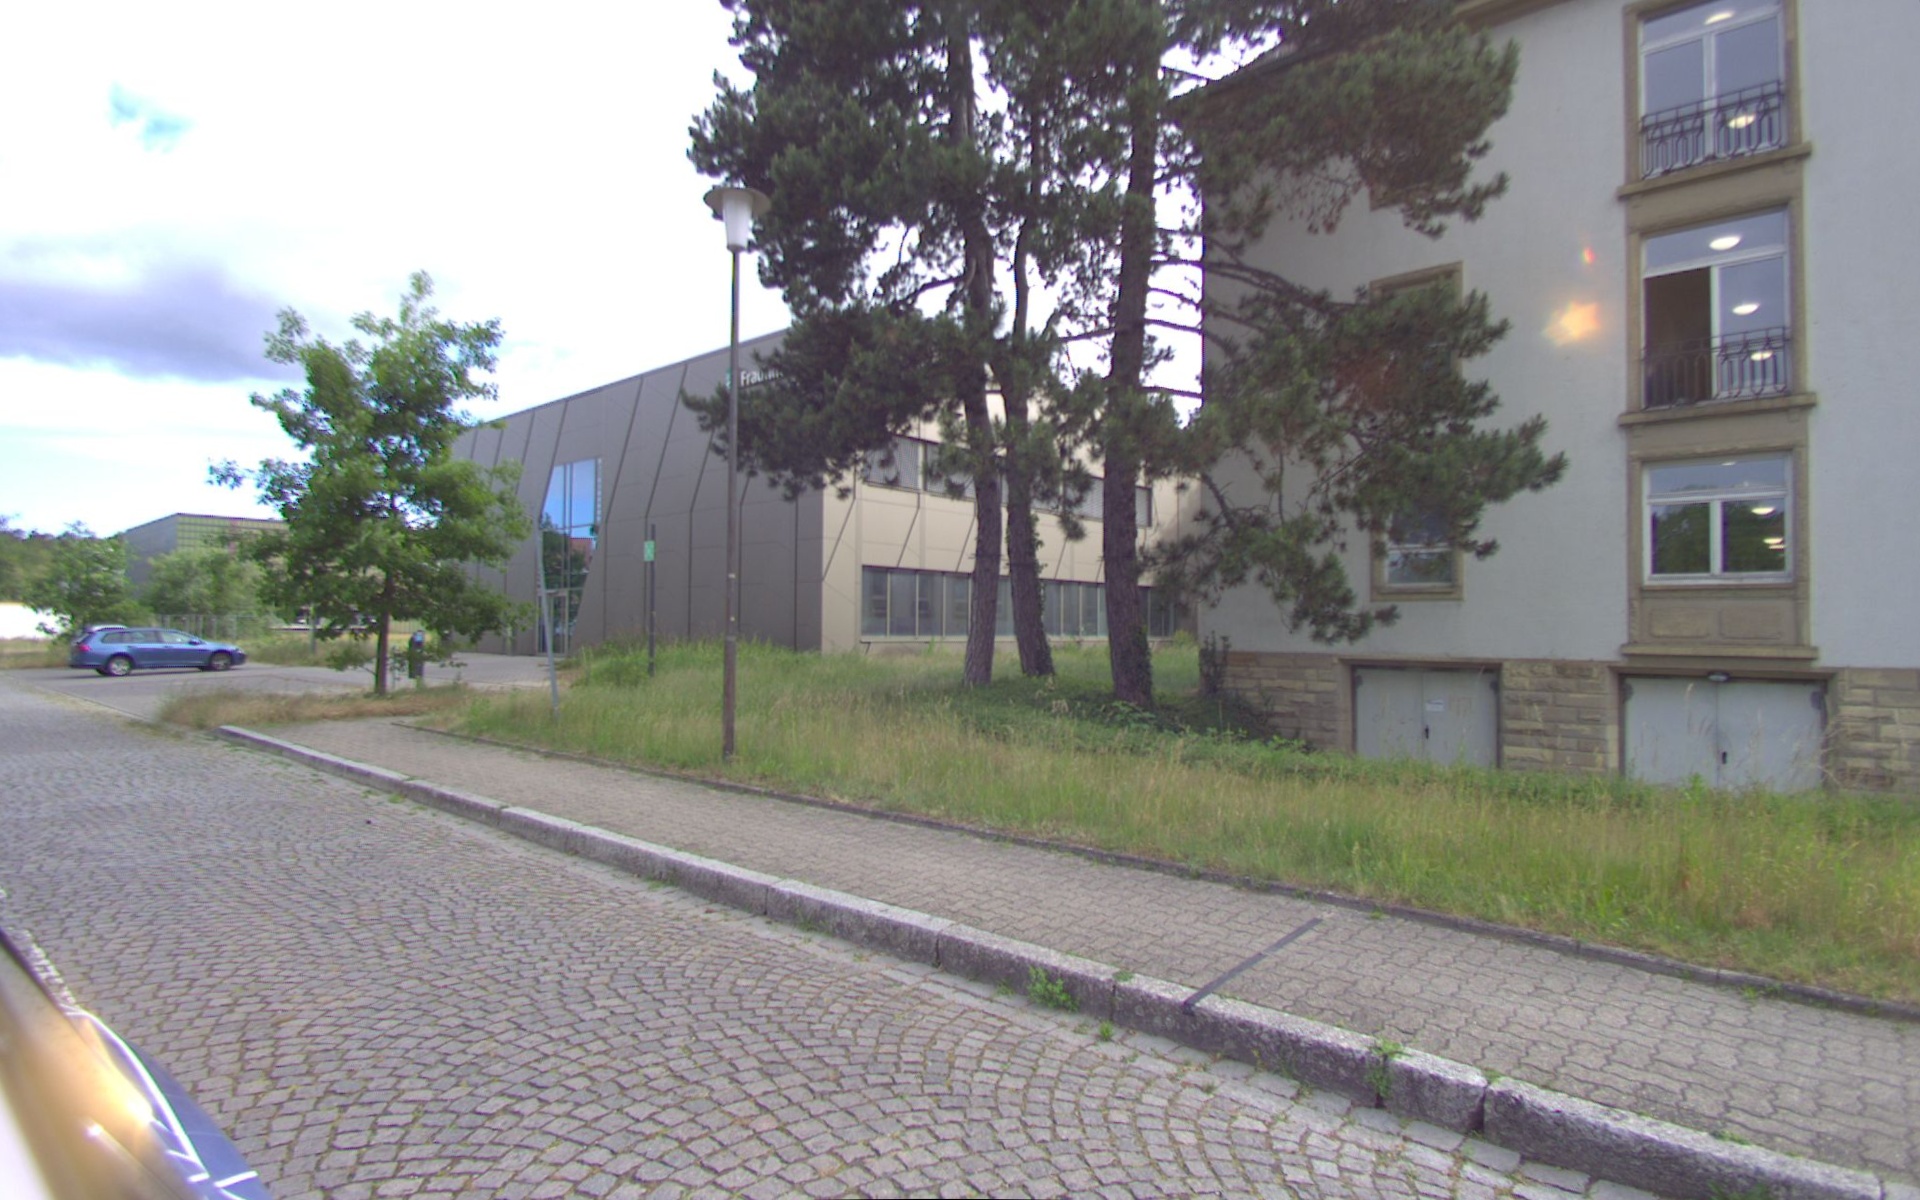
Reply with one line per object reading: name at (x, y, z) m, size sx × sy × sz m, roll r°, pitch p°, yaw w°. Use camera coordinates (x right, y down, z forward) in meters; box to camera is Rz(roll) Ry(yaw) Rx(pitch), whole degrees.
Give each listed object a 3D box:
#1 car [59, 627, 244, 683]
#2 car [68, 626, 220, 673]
car at (-25.675, 1.689, 32.271) m, size 1.715 × 1.521 × 4.349 m, roll -1°, pitch 0°, yaw 39°
car at (-30.565, 1.812, 37.987) m, size 4.339 × 1.557 × 1.843 m, roll -1°, pitch -1°, yaw -42°
